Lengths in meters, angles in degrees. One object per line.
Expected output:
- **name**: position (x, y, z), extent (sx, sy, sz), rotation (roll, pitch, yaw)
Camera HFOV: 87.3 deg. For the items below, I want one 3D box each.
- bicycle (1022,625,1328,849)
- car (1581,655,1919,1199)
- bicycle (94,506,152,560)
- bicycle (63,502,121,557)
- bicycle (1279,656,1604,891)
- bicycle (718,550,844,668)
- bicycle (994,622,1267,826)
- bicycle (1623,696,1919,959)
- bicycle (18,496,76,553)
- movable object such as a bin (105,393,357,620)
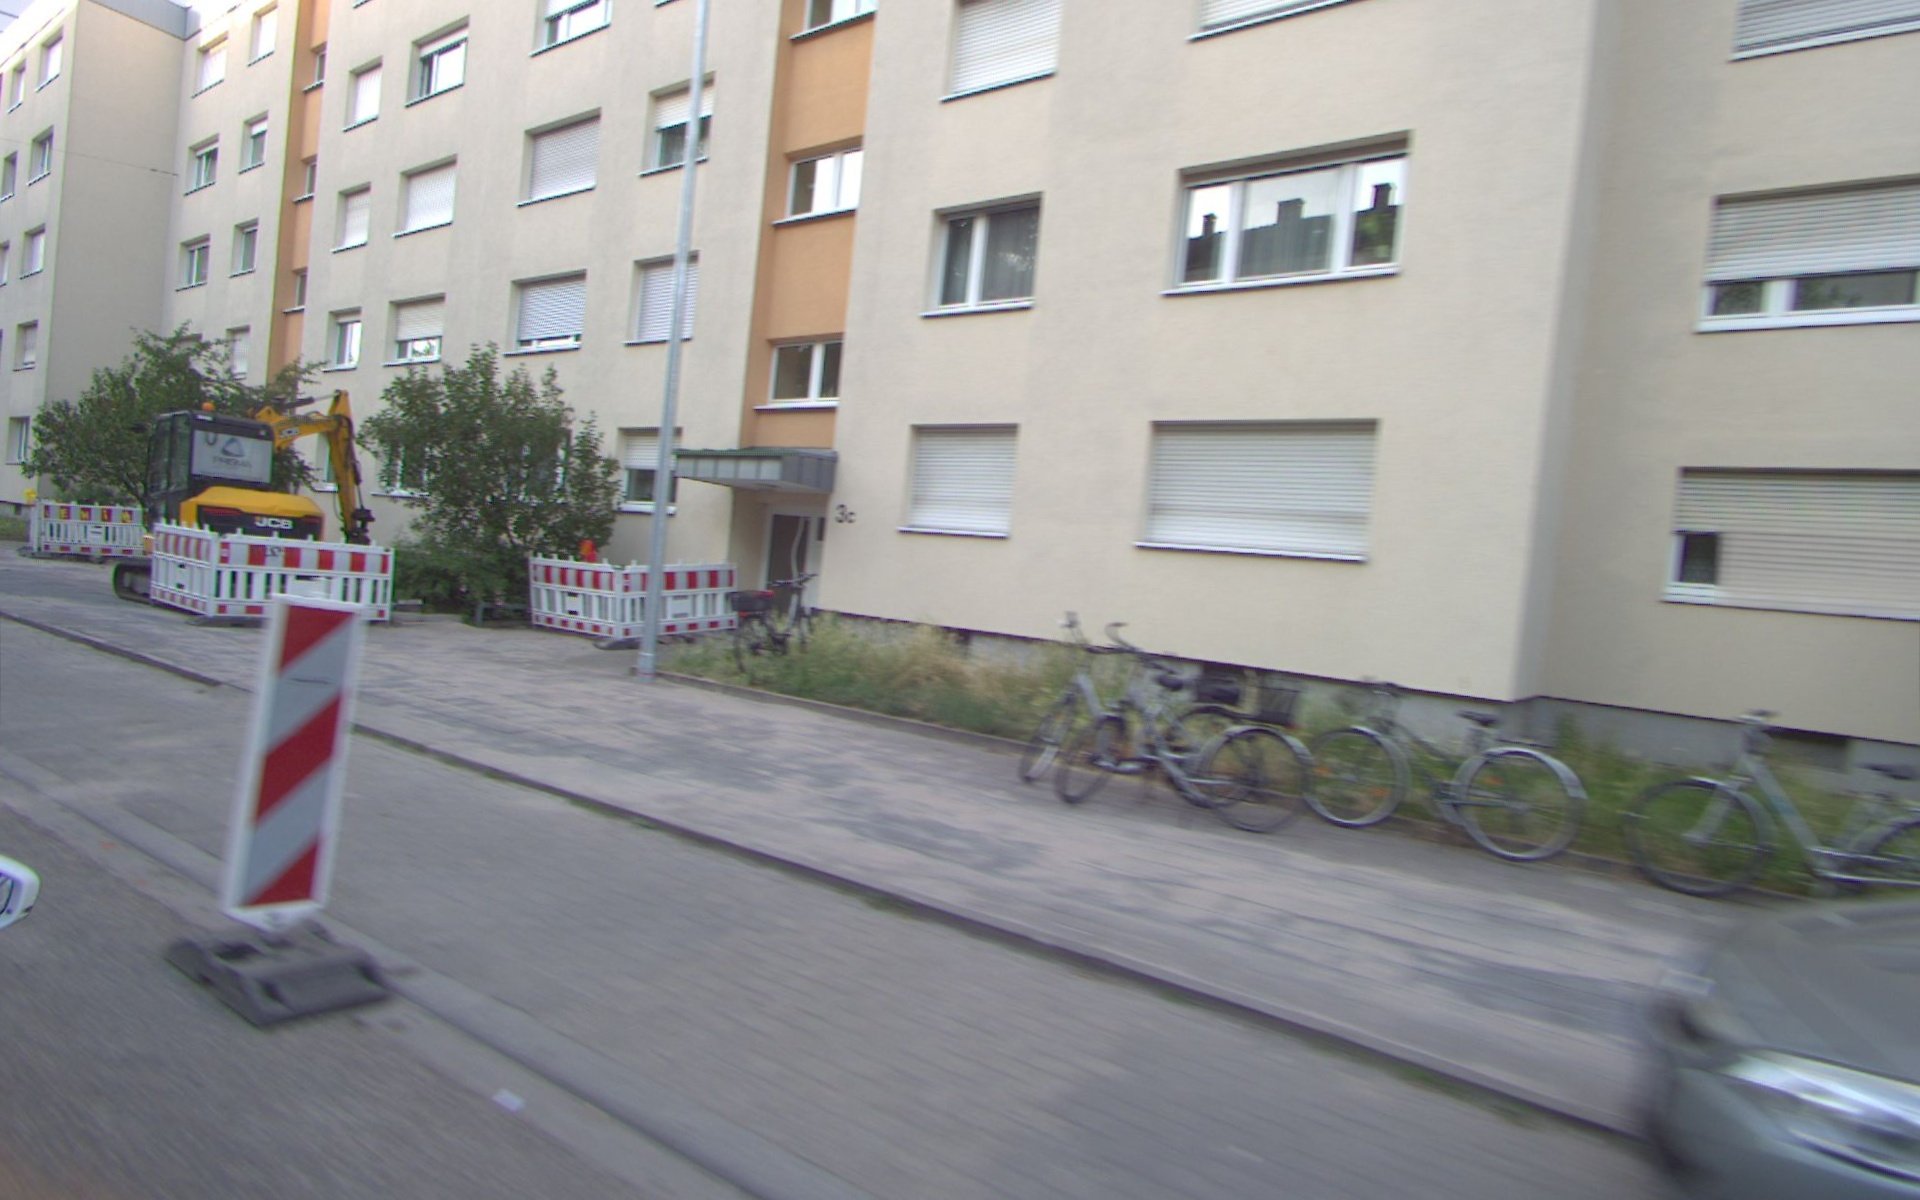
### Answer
- **bicycle**: position (1.396, 0.862, 6.672), extent (1.782, 1.187, 0.558), rotation (7, 1, 12)
- **car**: position (3.635, 1.156, 1.485), extent (4.499, 1.512, 1.774), rotation (6, 4, 33)
- **bicycle**: position (-20.590, -1.653, 24.740), extent (1.788, 1.187, 0.556), rotation (7, 1, 35)
- **bicycle**: position (-20.942, -1.707, 24.253), extent (1.788, 1.187, 0.556), rotation (7, 1, 35)
- **bicycle**: position (3.172, 1.079, 6.724), extent (1.788, 1.187, 0.556), rotation (7, 1, 35)
- **bicycle**: position (-2.019, 0.134, 11.565), extent (0.476, 1.237, 1.596), rotation (7, 0, 25)
- **bicycle**: position (1.246, 0.860, 7.376), extent (1.782, 1.187, 0.628), rotation (7, 1, 15)
- **bicycle**: position (4.899, 1.264, 5.702), extent (1.788, 1.187, 0.556), rotation (7, 1, 35)
- **bicycle**: position (-21.647, -1.803, 23.839), extent (1.788, 1.187, 0.556), rotation (7, 1, 35)
- **movable object such as a bin**: position (-10.231, -1.268, 14.105), extent (2.847, 2.727, 1.932), rotation (7, 1, 36)
